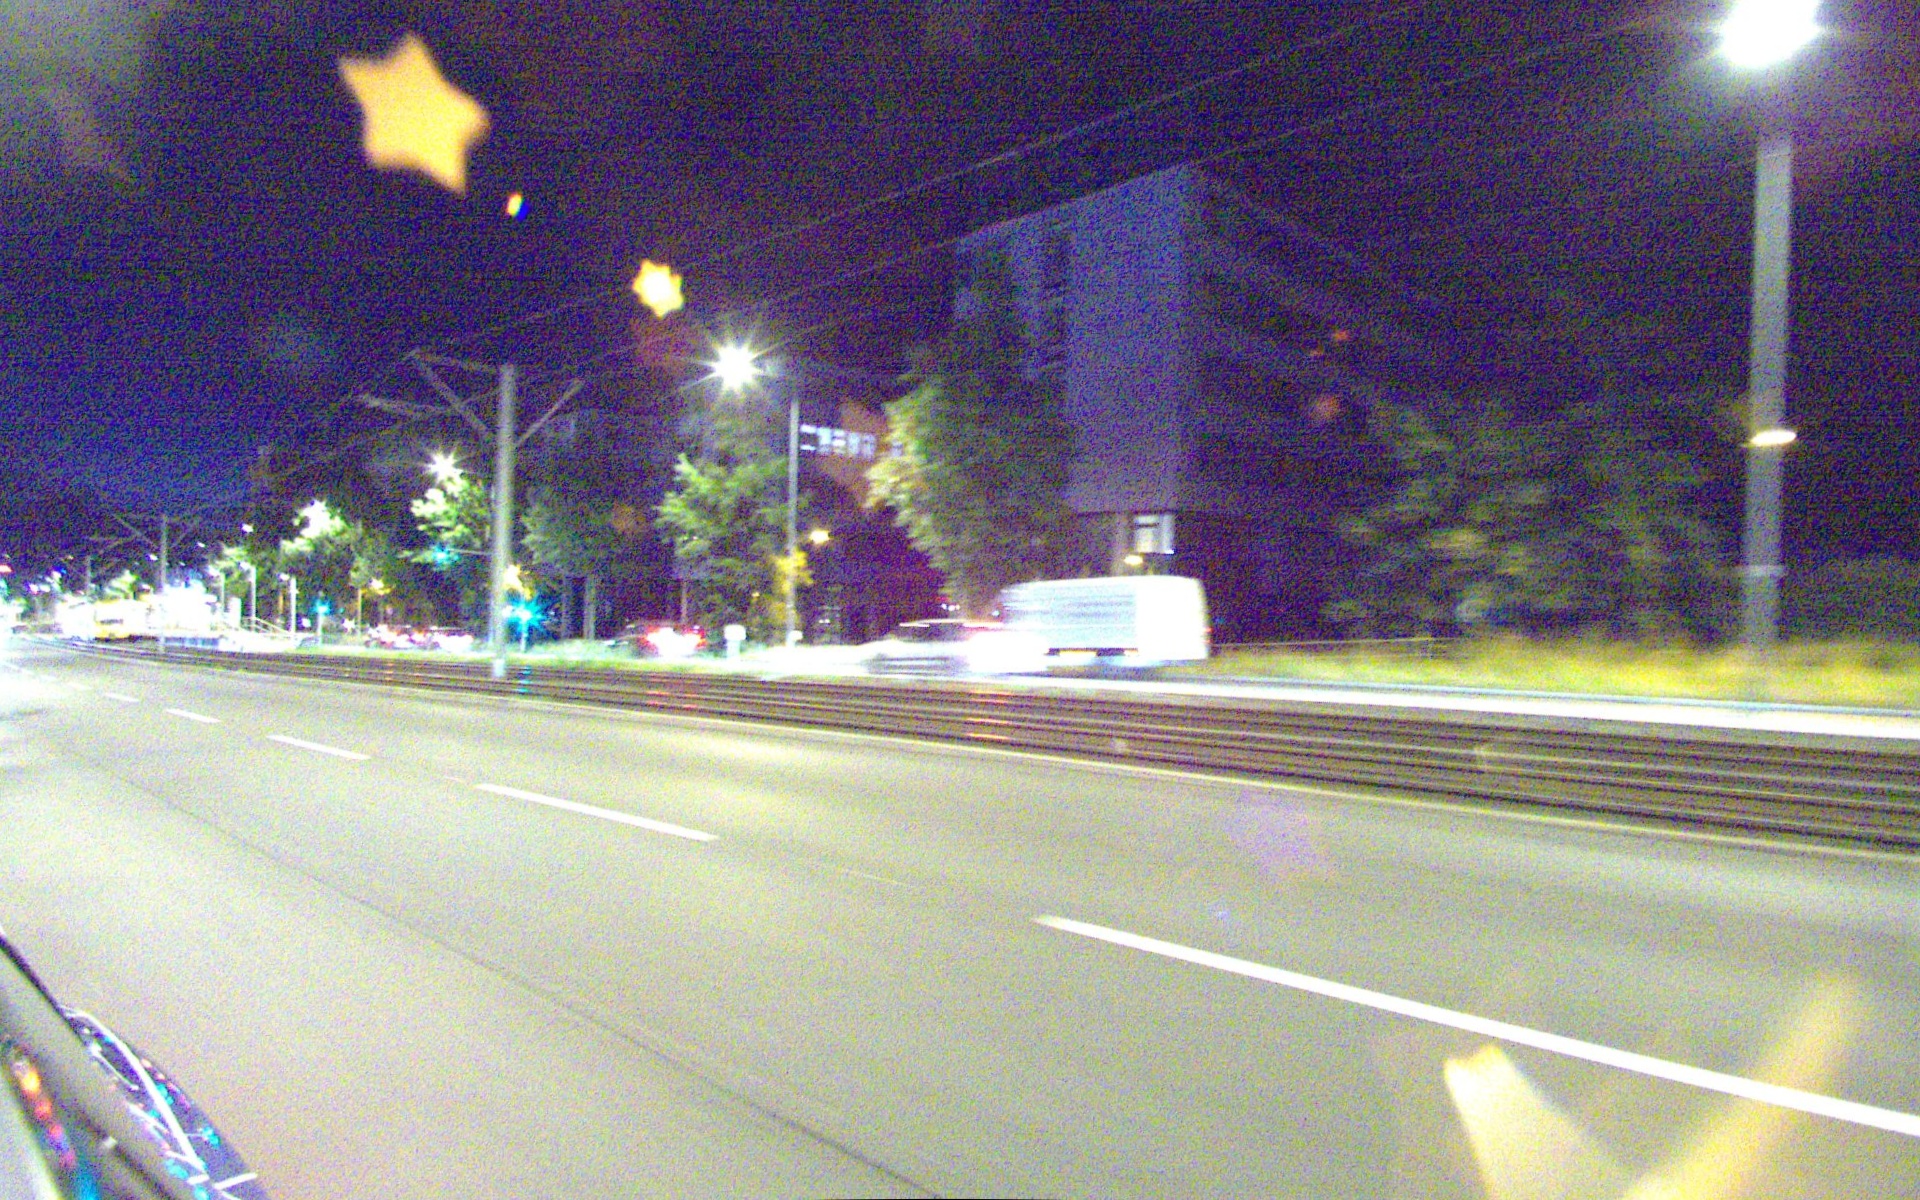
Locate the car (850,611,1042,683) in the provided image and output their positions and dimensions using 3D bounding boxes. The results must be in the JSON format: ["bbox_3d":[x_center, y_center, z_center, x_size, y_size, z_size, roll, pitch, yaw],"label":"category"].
[{"bbox_3d":[-0.386,1.001,22.488,4.337,1.451,1.603,-1,-3,42],"label":"car"}]

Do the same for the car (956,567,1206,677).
[{"bbox_3d":[3.142,0.617,27.902,6.964,2.691,2.121,-1,-4,44],"label":"car"}]

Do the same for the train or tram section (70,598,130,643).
[{"bbox_3d":[-80.624,1.922,94.708,18.679,3.856,2.727,-1,-1,45],"label":"train or tram section"}]

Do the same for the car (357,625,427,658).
[{"bbox_3d":[-28.925,2.066,51.474,4.172,1.508,1.766,0,0,40],"label":"car"}]

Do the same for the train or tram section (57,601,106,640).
[{"bbox_3d":[-94.060,2.231,108.171,2.707,3.875,19.374,0,-1,-45],"label":"train or tram section"}]

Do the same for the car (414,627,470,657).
[{"bbox_3d":[-28.332,2.267,55.277,1.641,1.528,3.913,0,-1,-45],"label":"car"}]

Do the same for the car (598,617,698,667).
[{"bbox_3d":[-11.782,1.533,38.101,4.227,1.726,1.760,-1,-1,44],"label":"car"}]
